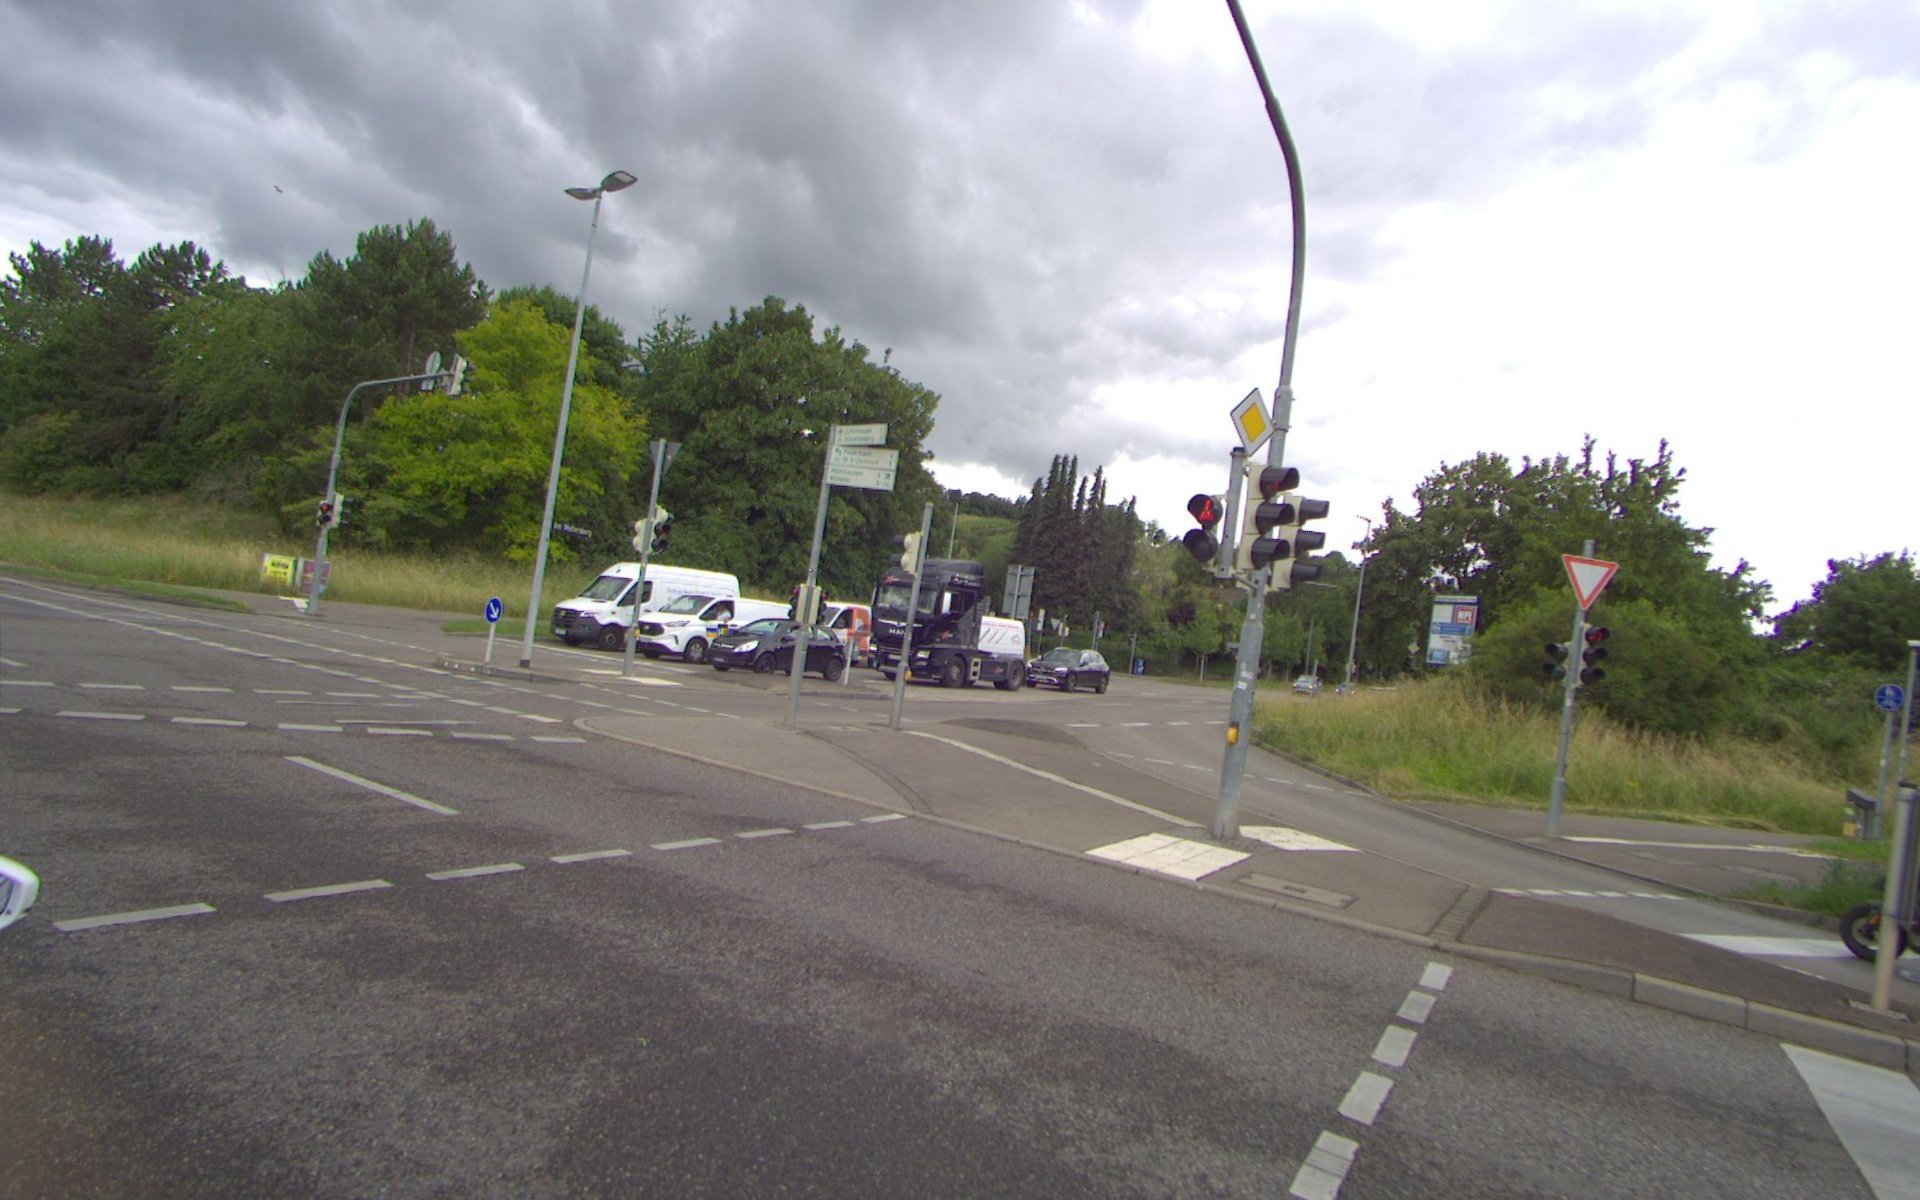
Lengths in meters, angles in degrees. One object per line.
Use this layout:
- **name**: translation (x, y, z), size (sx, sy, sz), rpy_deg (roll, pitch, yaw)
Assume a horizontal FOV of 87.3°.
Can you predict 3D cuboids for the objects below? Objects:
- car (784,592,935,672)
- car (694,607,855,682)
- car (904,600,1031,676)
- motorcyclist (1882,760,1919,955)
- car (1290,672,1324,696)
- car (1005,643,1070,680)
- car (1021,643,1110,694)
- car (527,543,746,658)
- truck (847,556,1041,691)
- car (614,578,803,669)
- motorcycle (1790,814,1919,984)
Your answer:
- **car**: translation (-3.711, 1.281, 38.375), size (2.193, 2.413, 5.947), rpy_deg (5, -3, 35)
- **car**: translation (-4.576, 1.165, 25.355), size (1.610, 1.458, 3.858), rpy_deg (6, -2, 35)
- **car**: translation (0.471, 1.770, 45.116), size (2.193, 2.751, 6.673), rpy_deg (5, -3, 34)
- **motorcyclist**: translation (7.744, 2.026, 7.586), size (0.750, 1.437, 0.813), rpy_deg (9, -2, -23)
- **car**: translation (27.449, 6.631, 79.471), size (1.609, 1.593, 3.861), rpy_deg (7, -2, 32)
- **car**: translation (4.018, 3.185, 51.771), size (1.625, 1.473, 3.861), rpy_deg (7, -2, 32)
- **car**: translation (4.087, 2.648, 38.505), size (1.723, 1.593, 3.861), rpy_deg (7, -2, 32)
- **car**: translation (-9.471, 0.121, 30.116), size (2.193, 2.689, 5.949), rpy_deg (5, -3, 34)
- **truck**: translation (-0.345, 0.855, 32.008), size (3.026, 3.558, 5.949), rpy_deg (5, -3, 34)
- **car**: translation (-6.965, 0.738, 28.409), size (2.087, 2.013, 4.980), rpy_deg (4, -3, 32)
- **motorcycle**: translation (7.688, 2.397, 7.546), size (0.750, 1.102, 2.059), rpy_deg (9, -2, -23)
